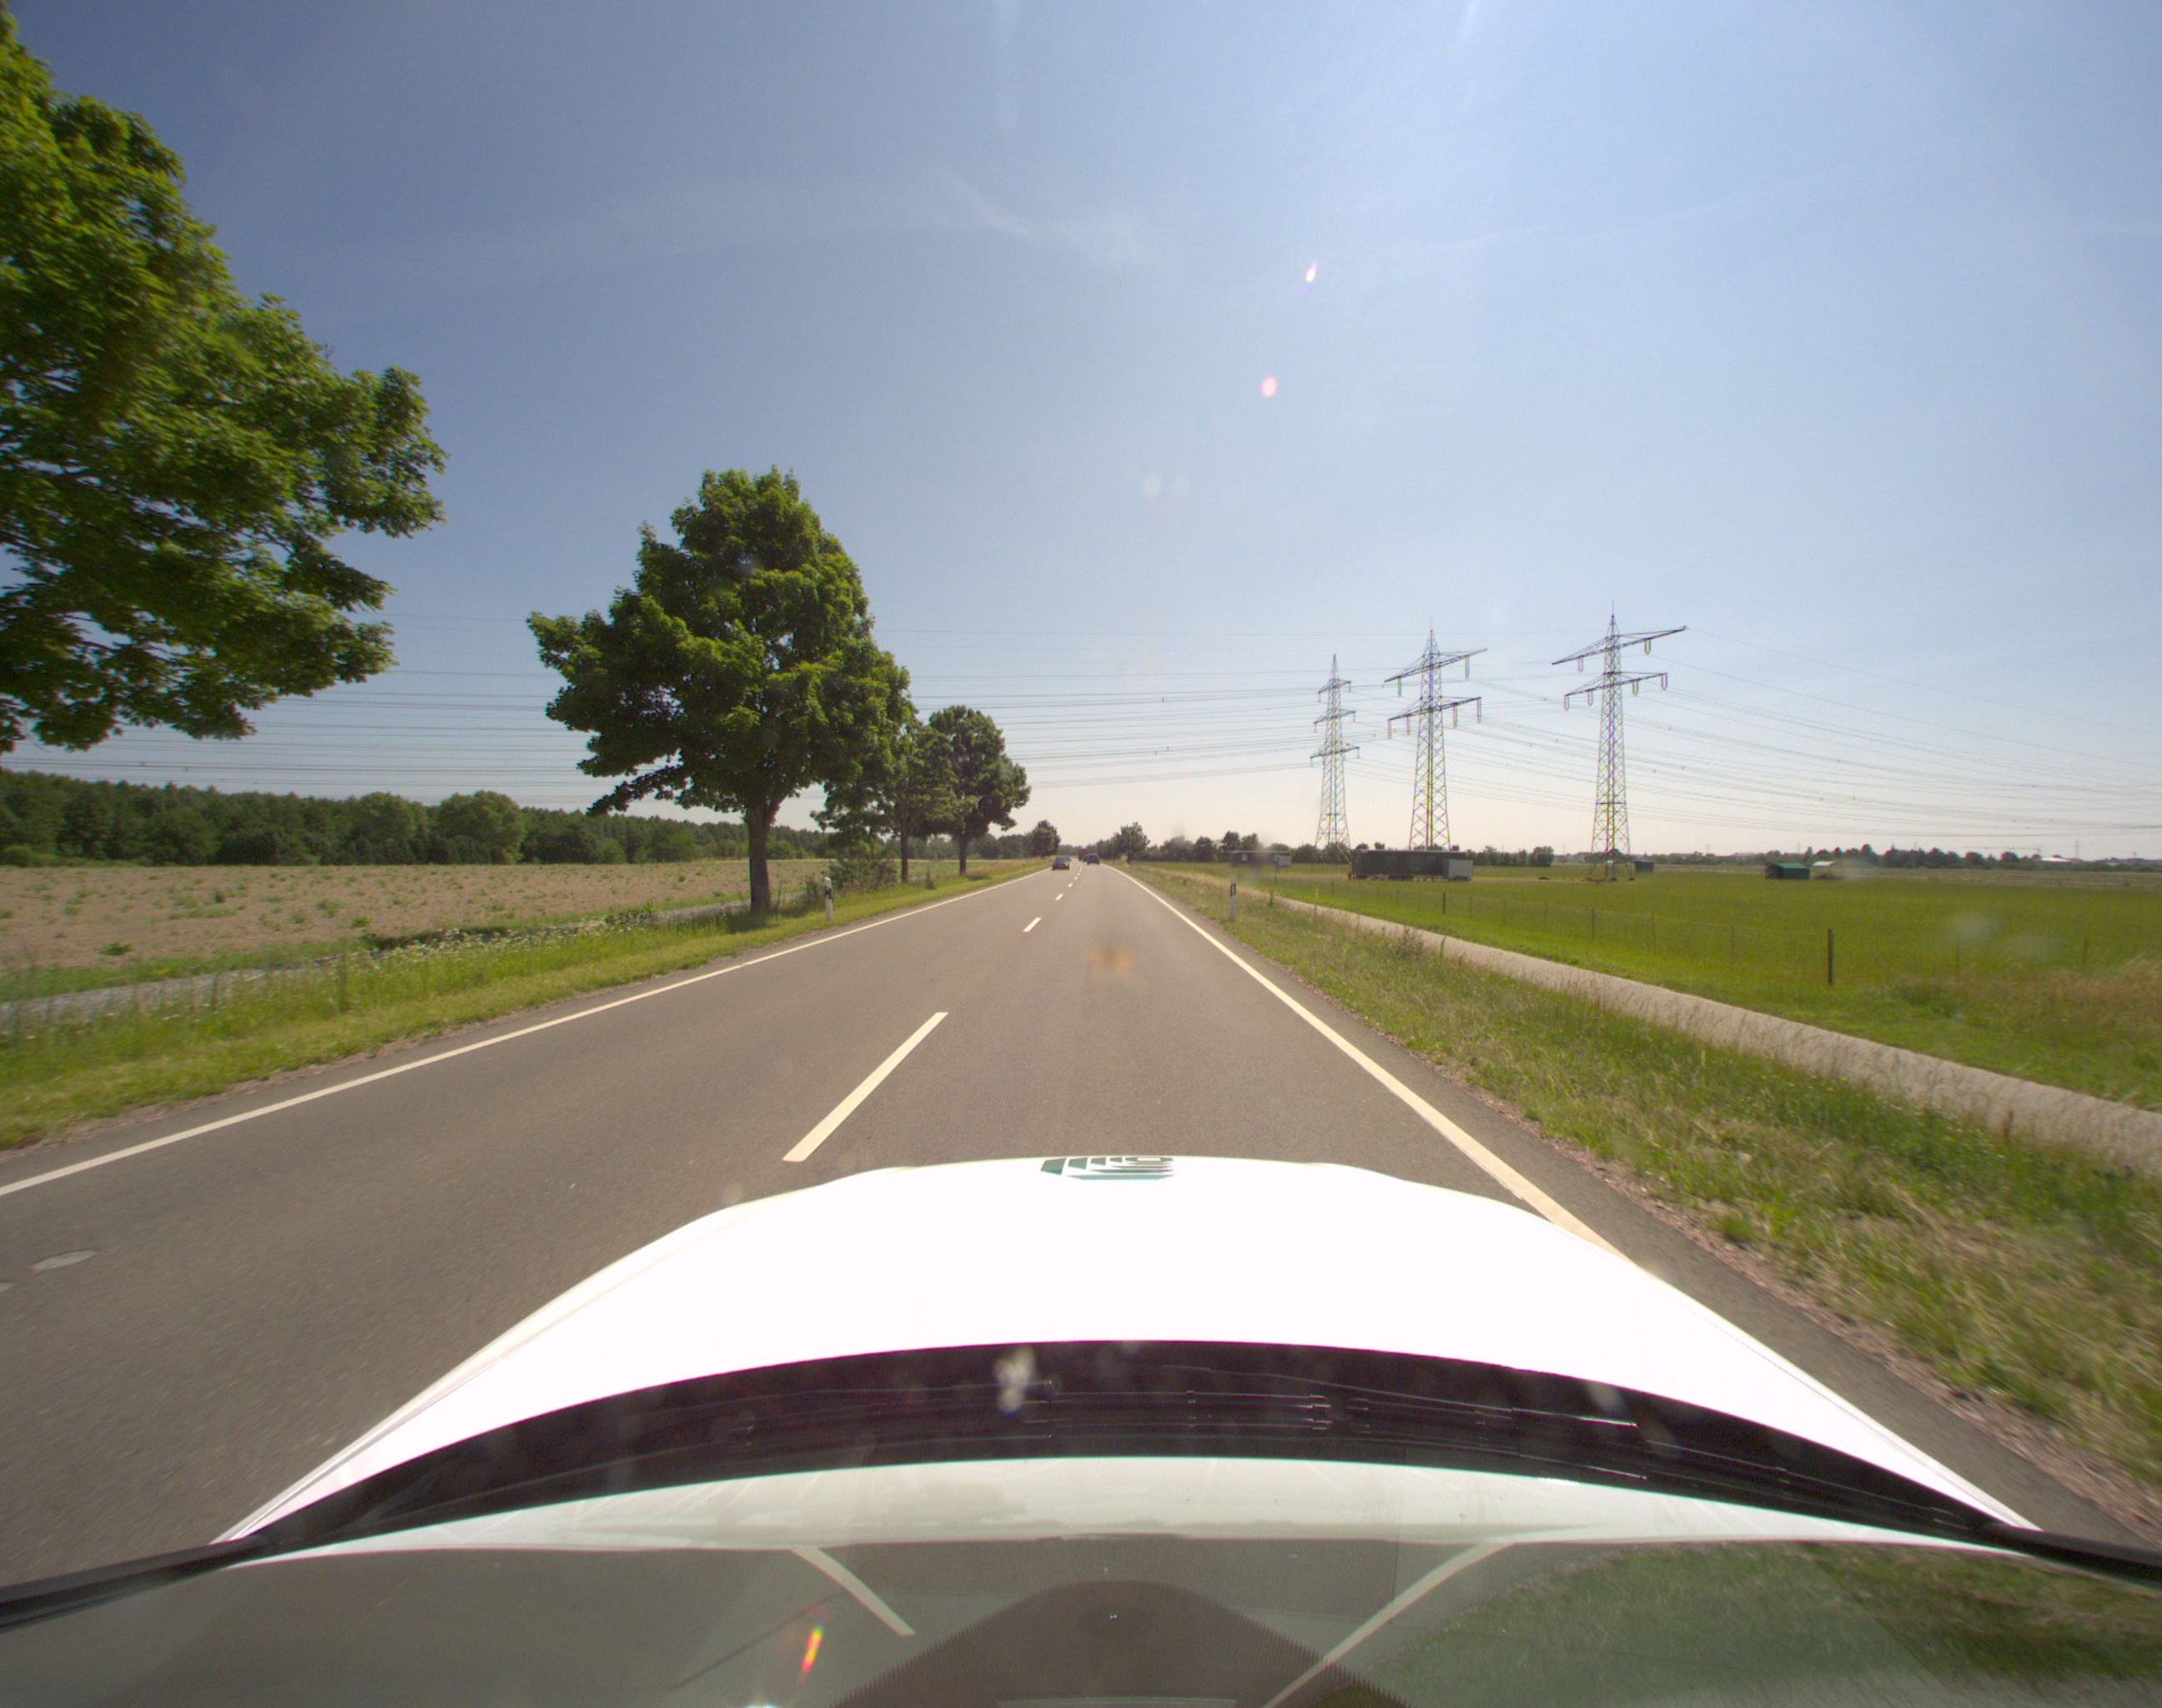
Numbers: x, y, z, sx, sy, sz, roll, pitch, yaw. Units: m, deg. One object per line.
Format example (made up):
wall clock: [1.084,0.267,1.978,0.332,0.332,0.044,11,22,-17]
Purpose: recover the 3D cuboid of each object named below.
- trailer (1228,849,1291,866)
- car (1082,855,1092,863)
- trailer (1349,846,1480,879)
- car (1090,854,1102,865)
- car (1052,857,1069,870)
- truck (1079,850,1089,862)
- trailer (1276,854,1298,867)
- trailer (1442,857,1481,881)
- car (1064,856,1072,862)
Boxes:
trailer: [37.005,0.747,169.013,12.380,3.473,3.802,1,0,-3]
car: [1.169,0.958,162.407,1.845,1.523,3.998,0,0,-1]
trailer: [37.456,0.953,91.754,13.469,3.475,3.275,1,0,-1]
car: [2.265,0.854,125.627,1.709,1.694,3.988,0,0,0]
car: [-2.090,0.992,84.431,1.699,1.332,3.999,0,0,0]
truck: [0.706,0.499,206.916,2.365,3.140,8.740,0,0,-2]
trailer: [42.086,1.292,166.166,3.979,2.443,1.997,1,0,-4]
trailer: [41.565,1.627,89.031,3.397,2.462,2.037,1,0,-1]
car: [-2.927,1.184,185.962,1.728,1.447,4.001,0,0,1]
